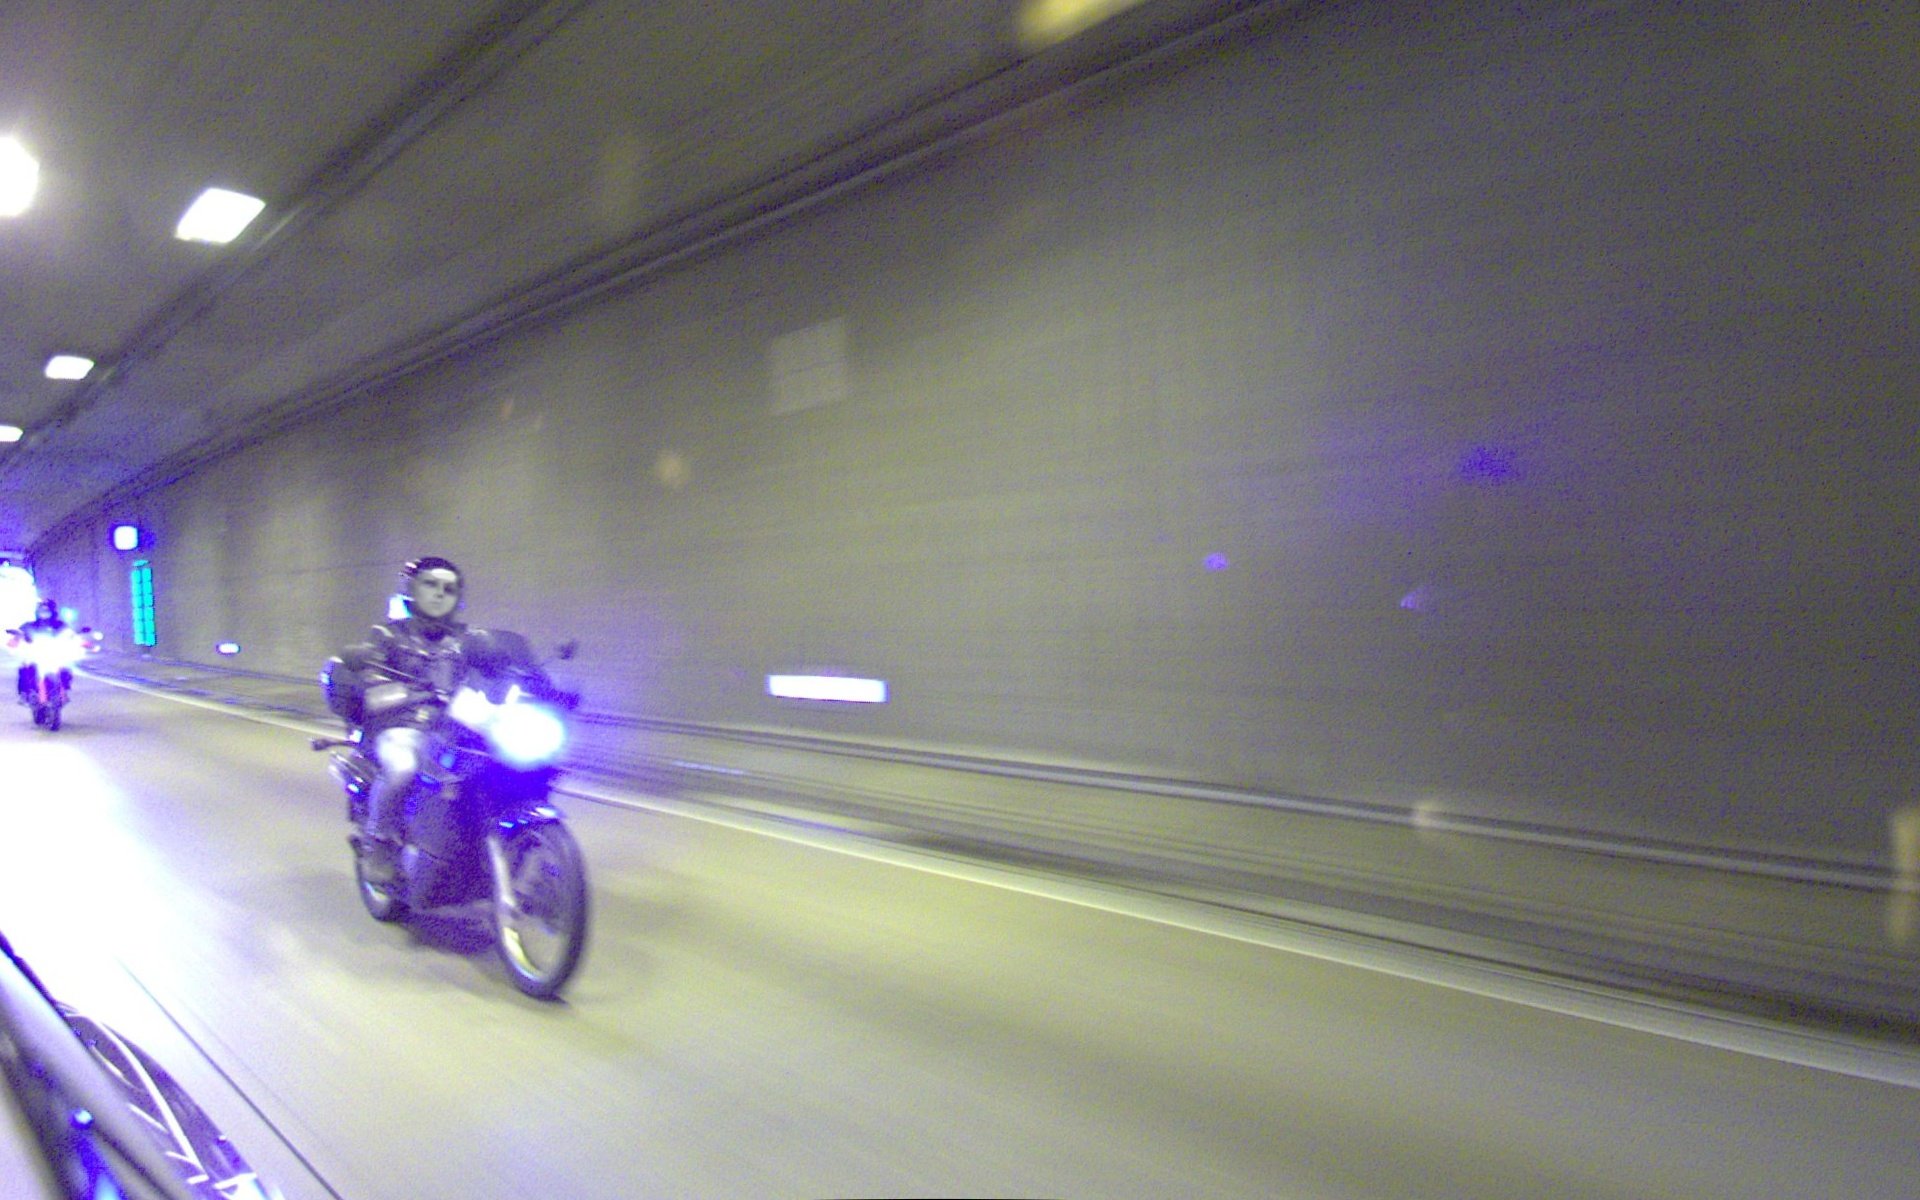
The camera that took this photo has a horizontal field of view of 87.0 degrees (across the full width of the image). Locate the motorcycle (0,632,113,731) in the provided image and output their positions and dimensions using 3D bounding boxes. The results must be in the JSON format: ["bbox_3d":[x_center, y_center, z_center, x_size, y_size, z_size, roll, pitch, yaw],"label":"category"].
[{"bbox_3d":[-12.313,1.042,13.666,2.427,1.166,1.042,-1,-1,42],"label":"motorcycle"}]

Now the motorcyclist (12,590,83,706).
[{"bbox_3d":[-12.315,0.631,13.655,0.890,1.500,0.620,-1,-1,41],"label":"motorcyclist"}]

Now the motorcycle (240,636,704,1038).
[{"bbox_3d":[-2.270,0.815,4.468,2.602,1.255,0.837,-1,0,40],"label":"motorcycle"}]

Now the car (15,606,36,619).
[{"bbox_3d":[-141.769,1.849,153.598,1.968,1.812,4.009,-2,1,-37],"label":"car"}]

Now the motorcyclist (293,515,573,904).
[{"bbox_3d":[-2.313,0.423,4.459,0.820,1.488,0.831,-1,-1,39],"label":"motorcyclist"}]
